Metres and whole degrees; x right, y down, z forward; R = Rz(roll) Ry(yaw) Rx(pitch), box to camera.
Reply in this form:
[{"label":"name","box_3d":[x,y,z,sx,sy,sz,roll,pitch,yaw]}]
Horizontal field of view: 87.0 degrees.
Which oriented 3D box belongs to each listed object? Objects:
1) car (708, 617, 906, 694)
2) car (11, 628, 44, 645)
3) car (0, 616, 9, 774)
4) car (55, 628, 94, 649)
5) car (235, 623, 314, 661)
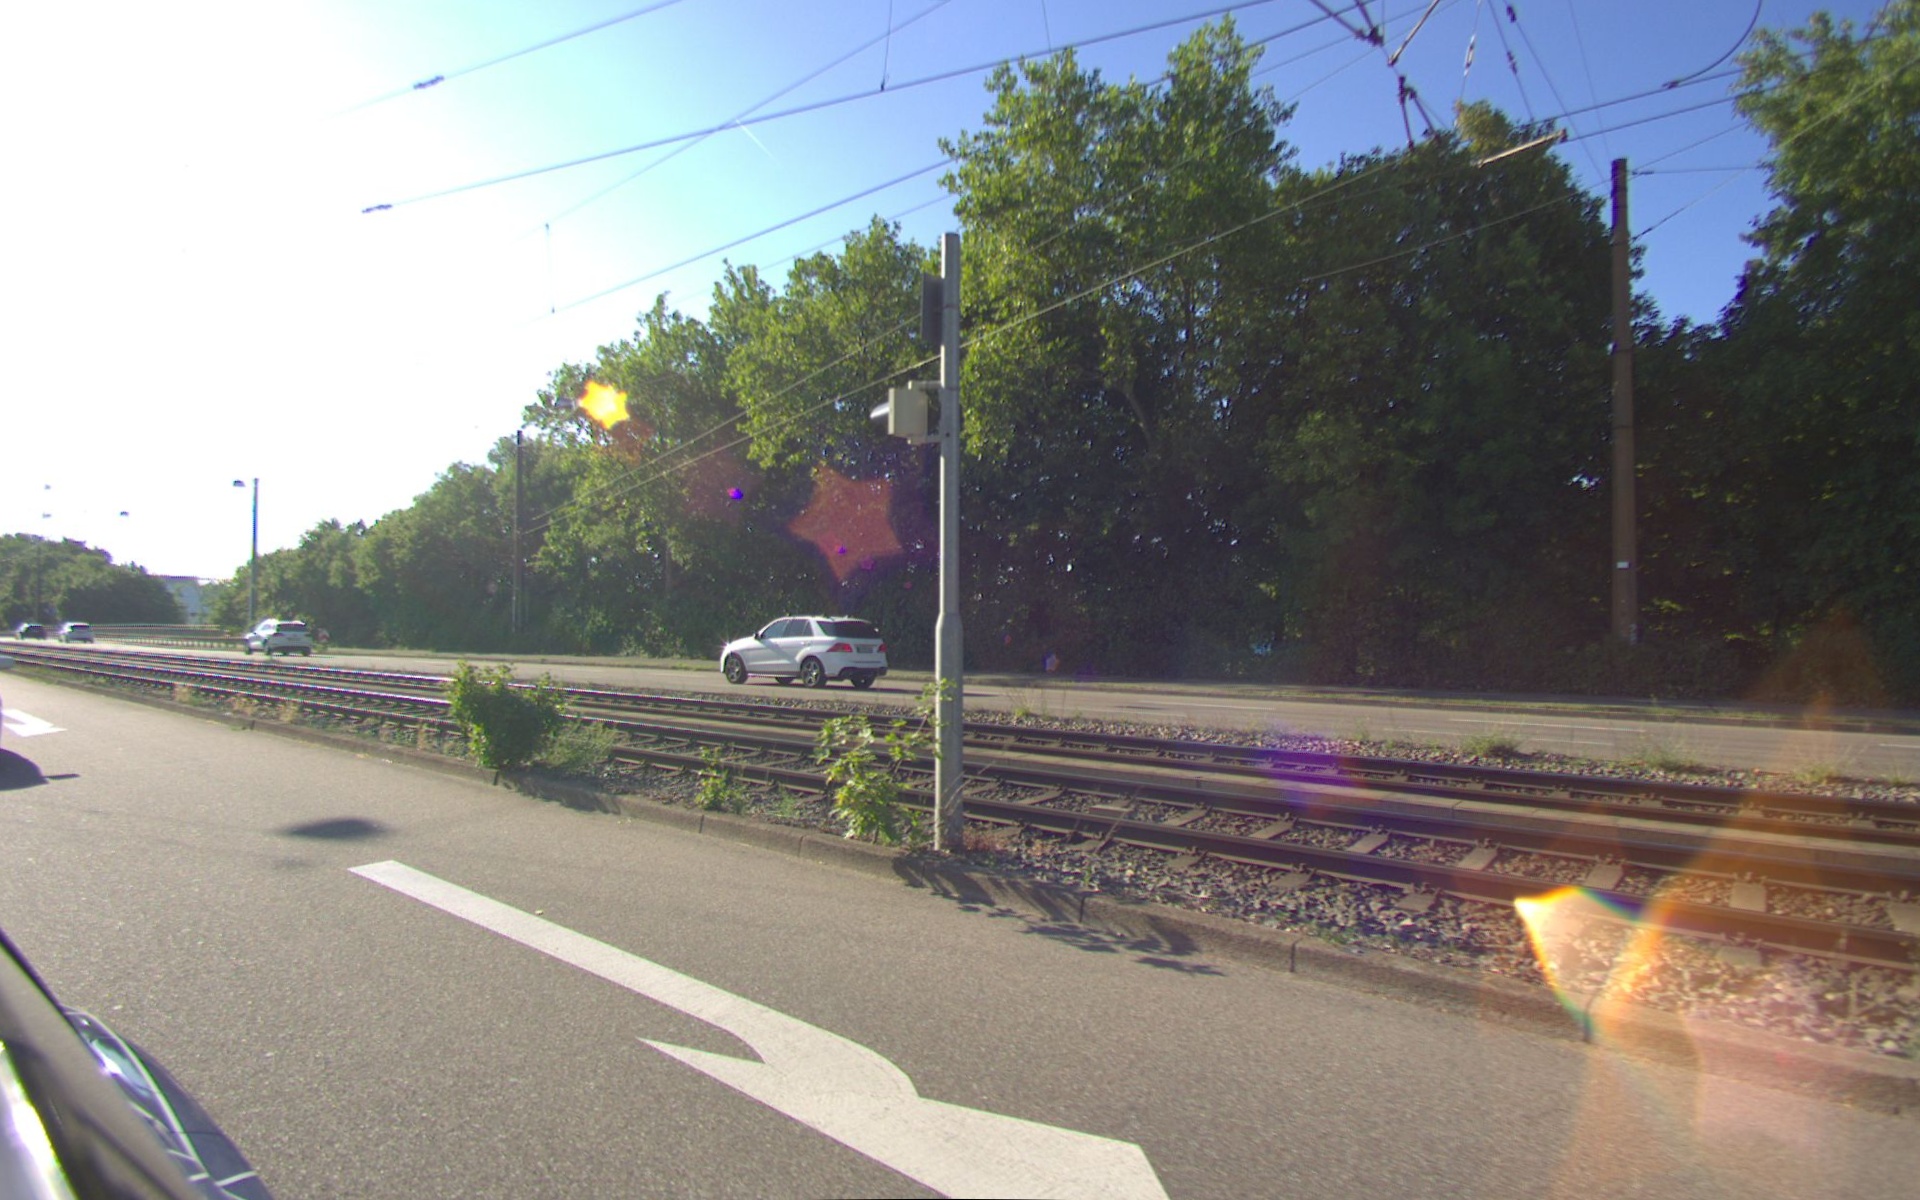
[{"label":"car","box_3d":[-3.858,1.334,25.045,4.937,1.720,1.944,-1,-4,38]},{"label":"car","box_3d":[-86.050,3.372,93.367,4.499,1.443,1.640,-1,-4,41]},{"label":"car","box_3d":[-11.213,0.943,10.420,3.860,1.523,1.687,-1,-1,41]},{"label":"car","box_3d":[-71.627,3.085,81.814,4.187,1.568,1.674,-1,-4,40]},{"label":"car","box_3d":[-34.467,2.097,50.856,4.925,1.747,1.828,-1,-4,38]}]
